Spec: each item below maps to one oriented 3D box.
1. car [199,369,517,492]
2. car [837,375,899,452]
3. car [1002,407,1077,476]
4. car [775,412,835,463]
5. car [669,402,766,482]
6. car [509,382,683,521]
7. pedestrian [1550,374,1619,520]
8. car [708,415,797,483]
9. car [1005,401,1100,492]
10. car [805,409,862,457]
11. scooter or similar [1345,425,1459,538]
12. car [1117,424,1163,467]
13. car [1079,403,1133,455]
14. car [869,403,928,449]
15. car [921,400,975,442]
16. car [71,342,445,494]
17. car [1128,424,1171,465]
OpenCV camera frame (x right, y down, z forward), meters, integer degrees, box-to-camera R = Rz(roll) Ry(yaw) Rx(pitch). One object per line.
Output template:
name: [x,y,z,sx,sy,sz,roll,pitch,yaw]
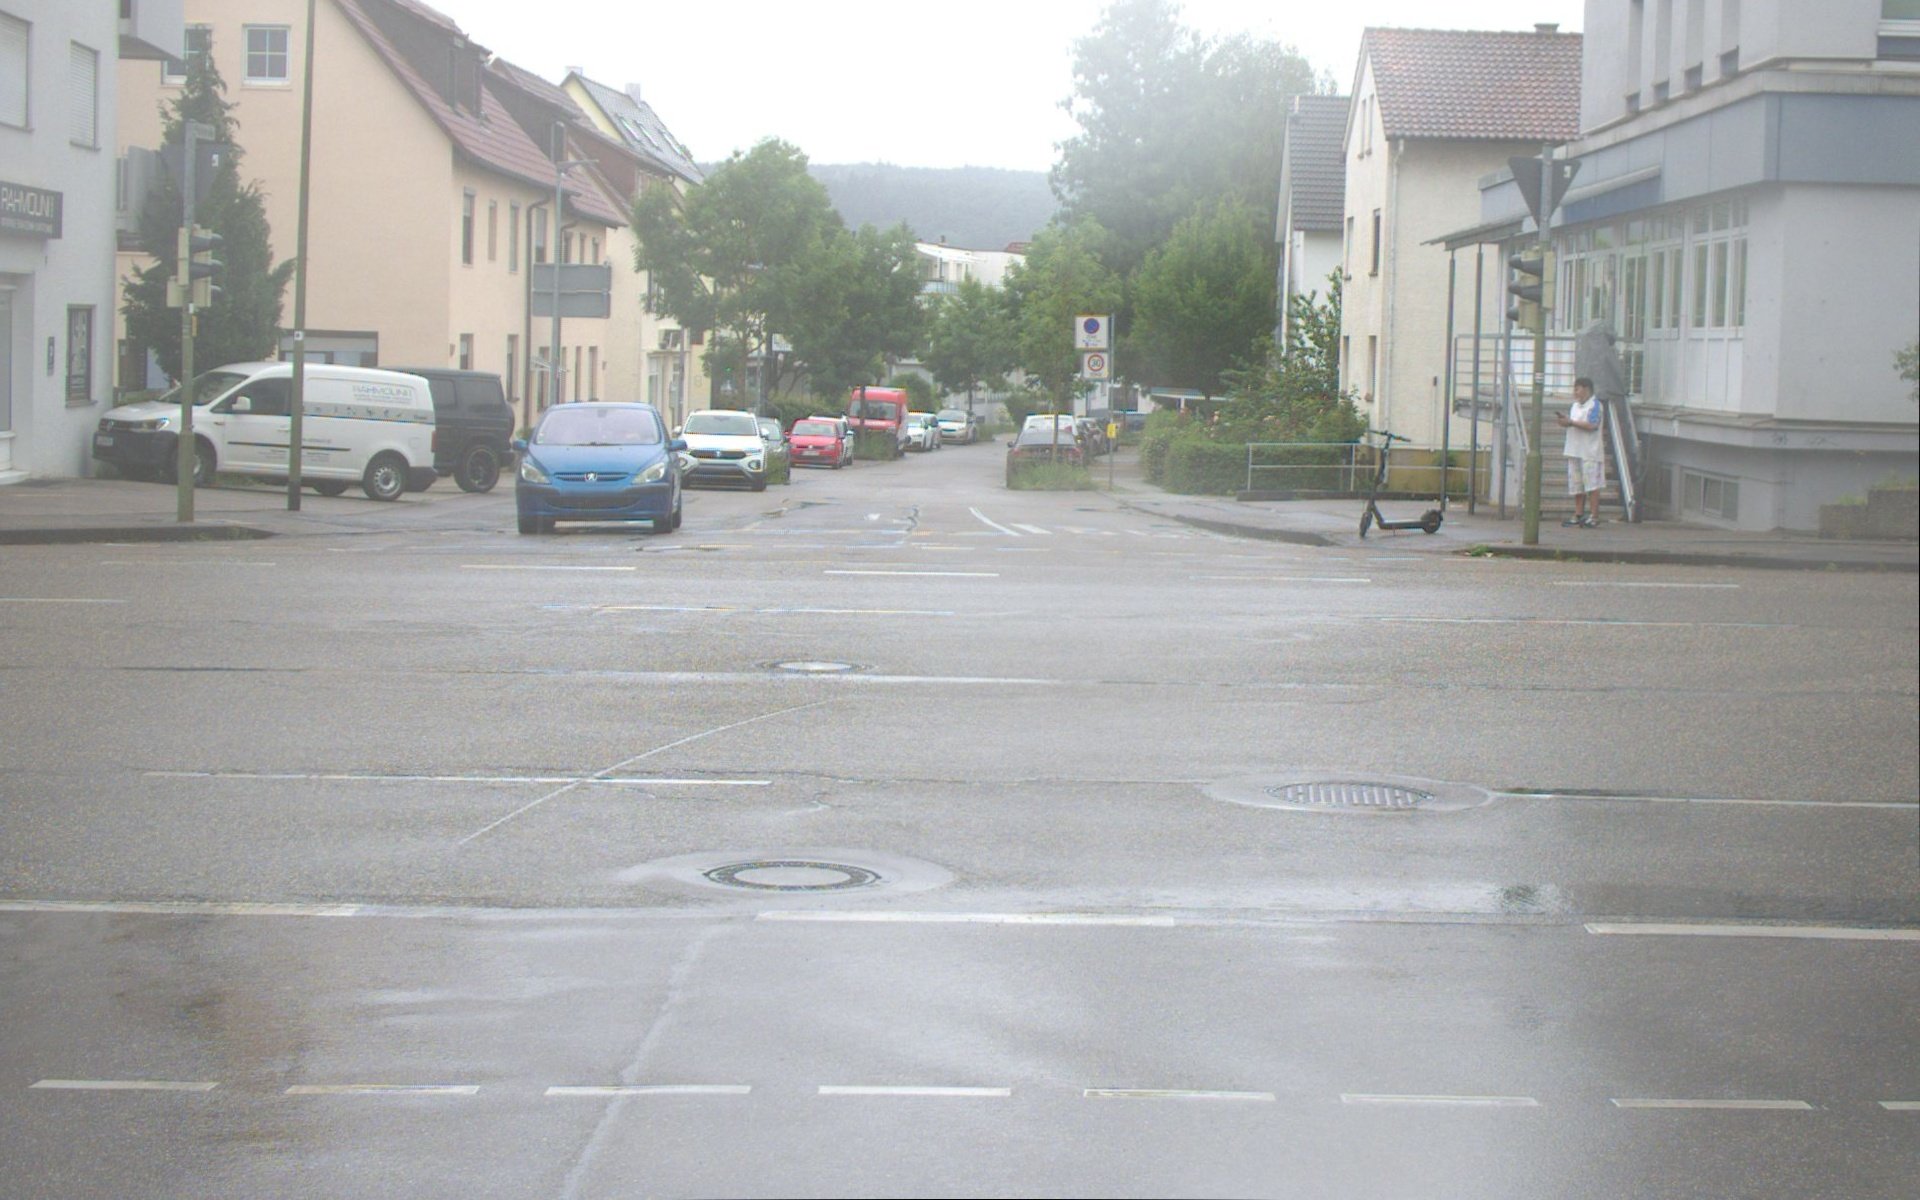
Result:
car: [-9.543,-2.683,54.686,4.608,1.882,1.963,-2,3,-39]
car: [-3.383,-6.864,127.214,2.216,2.759,5.726,0,3,-1]
car: [2.409,-4.777,103.562,1.994,2.006,4.000,1,3,5]
car: [-4.716,-4.924,104.327,1.767,1.513,4.001,0,3,-3]
car: [-4.758,-3.119,67.841,1.767,1.518,4.001,0,3,-2]
car: [-4.121,-1.662,39.398,1.767,1.440,4.001,1,1,-3]
pedestrian: [7.188,-1.755,39.579,0.654,1.646,0.646,1,0,0]
car: [-4.759,-3.486,79.237,1.767,1.513,4.195,0,3,0]
car: [2.217,-3.621,81.550,1.994,2.007,3.999,1,1,5]
car: [-4.154,-5.451,112.266,1.767,1.513,4.001,0,3,-3]
scooter or similar: [4.953,-1.322,38.554,1.058,1.223,0.802,1,0,-9]
car: [8.480,-7.272,161.841,1.994,2.006,4.000,1,3,5]
car: [5.845,-6.819,137.355,1.994,2.006,4.000,1,3,5]
car: [-2.472,-7.015,138.747,1.994,1.678,3.999,1,1,5]
car: [-0.521,-8.055,154.623,1.994,1.700,3.999,1,1,6]
car: [-9.672,-2.488,47.577,4.715,1.772,1.772,2,1,-39]
car: [9.393,-7.709,170.341,1.994,2.006,4.000,1,3,5]
